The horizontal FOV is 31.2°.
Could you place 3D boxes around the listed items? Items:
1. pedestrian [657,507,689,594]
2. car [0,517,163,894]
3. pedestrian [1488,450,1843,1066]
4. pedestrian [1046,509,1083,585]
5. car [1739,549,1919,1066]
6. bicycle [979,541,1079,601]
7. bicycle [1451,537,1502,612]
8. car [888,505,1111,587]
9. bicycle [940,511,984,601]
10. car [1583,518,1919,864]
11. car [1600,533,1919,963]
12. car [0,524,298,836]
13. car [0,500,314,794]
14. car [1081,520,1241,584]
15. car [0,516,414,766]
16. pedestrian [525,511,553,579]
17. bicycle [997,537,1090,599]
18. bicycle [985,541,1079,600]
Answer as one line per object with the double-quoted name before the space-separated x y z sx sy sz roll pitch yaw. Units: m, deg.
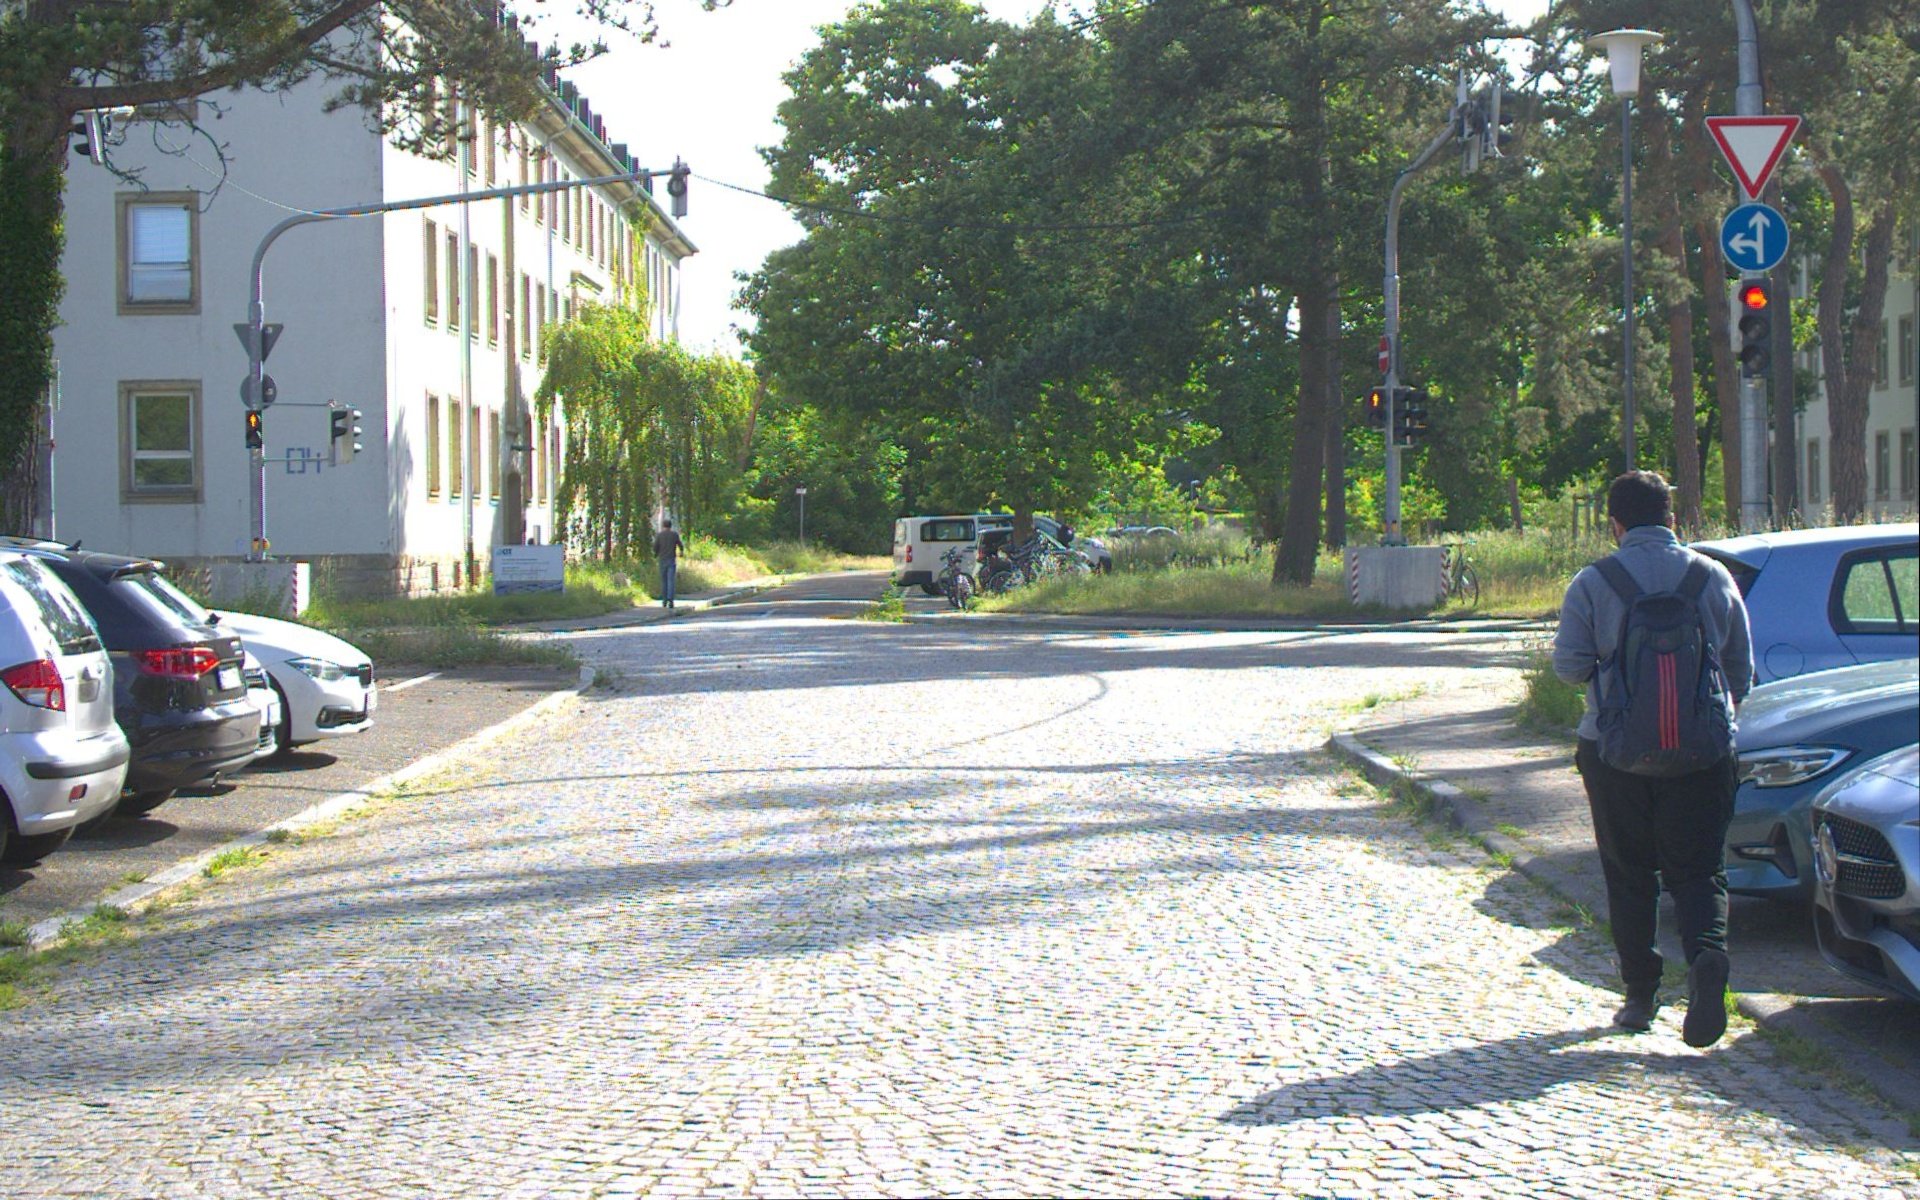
"pedestrian" -5.794 -1.008 69.408 0.607 1.746 0.630 0 1 0
"car" -5.488 0.361 14.860 3.685 1.522 1.699 2 1 -2
"pedestrian" 2.090 0.447 10.298 0.753 1.719 0.828 4 1 0
"pedestrian" 2.453 -1.239 80.732 0.759 1.777 0.684 0 1 -7
"car" 4.761 0.501 10.316 4.399 1.384 1.789 -2 1 -1
"bicycle" 1.293 -0.547 64.587 1.834 1.108 0.495 -1 1 -3
"bicycle" 7.916 -0.402 52.632 0.722 1.111 2.582 0 1 10
"car" 0.936 -1.315 82.468 5.065 1.911 2.001 -1 1 -9
"bicycle" 0.020 -0.796 61.136 0.753 1.575 2.537 0 1 -1
"car" 4.834 0.340 15.614 3.673 1.438 1.665 -2 1 0
"car" 4.964 0.429 13.083 4.619 1.450 1.870 -3 1 -2
"car" -5.529 0.311 17.523 3.937 1.440 1.691 3 1 -1
"car" -5.923 0.209 20.295 3.879 1.610 1.661 2 1 -1
"car" 5.037 -1.218 86.373 3.743 1.574 1.742 0 1 -7
"car" -5.833 0.217 22.909 3.988 1.491 1.772 2 1 5
"pedestrian" -9.636 -1.255 78.639 0.606 1.554 0.545 -1 1 -6
"bicycle" 1.596 -0.609 65.810 1.727 1.160 0.561 -1 1 -3
"bicycle" 1.360 -0.558 65.131 1.727 1.108 0.484 -1 1 -3
